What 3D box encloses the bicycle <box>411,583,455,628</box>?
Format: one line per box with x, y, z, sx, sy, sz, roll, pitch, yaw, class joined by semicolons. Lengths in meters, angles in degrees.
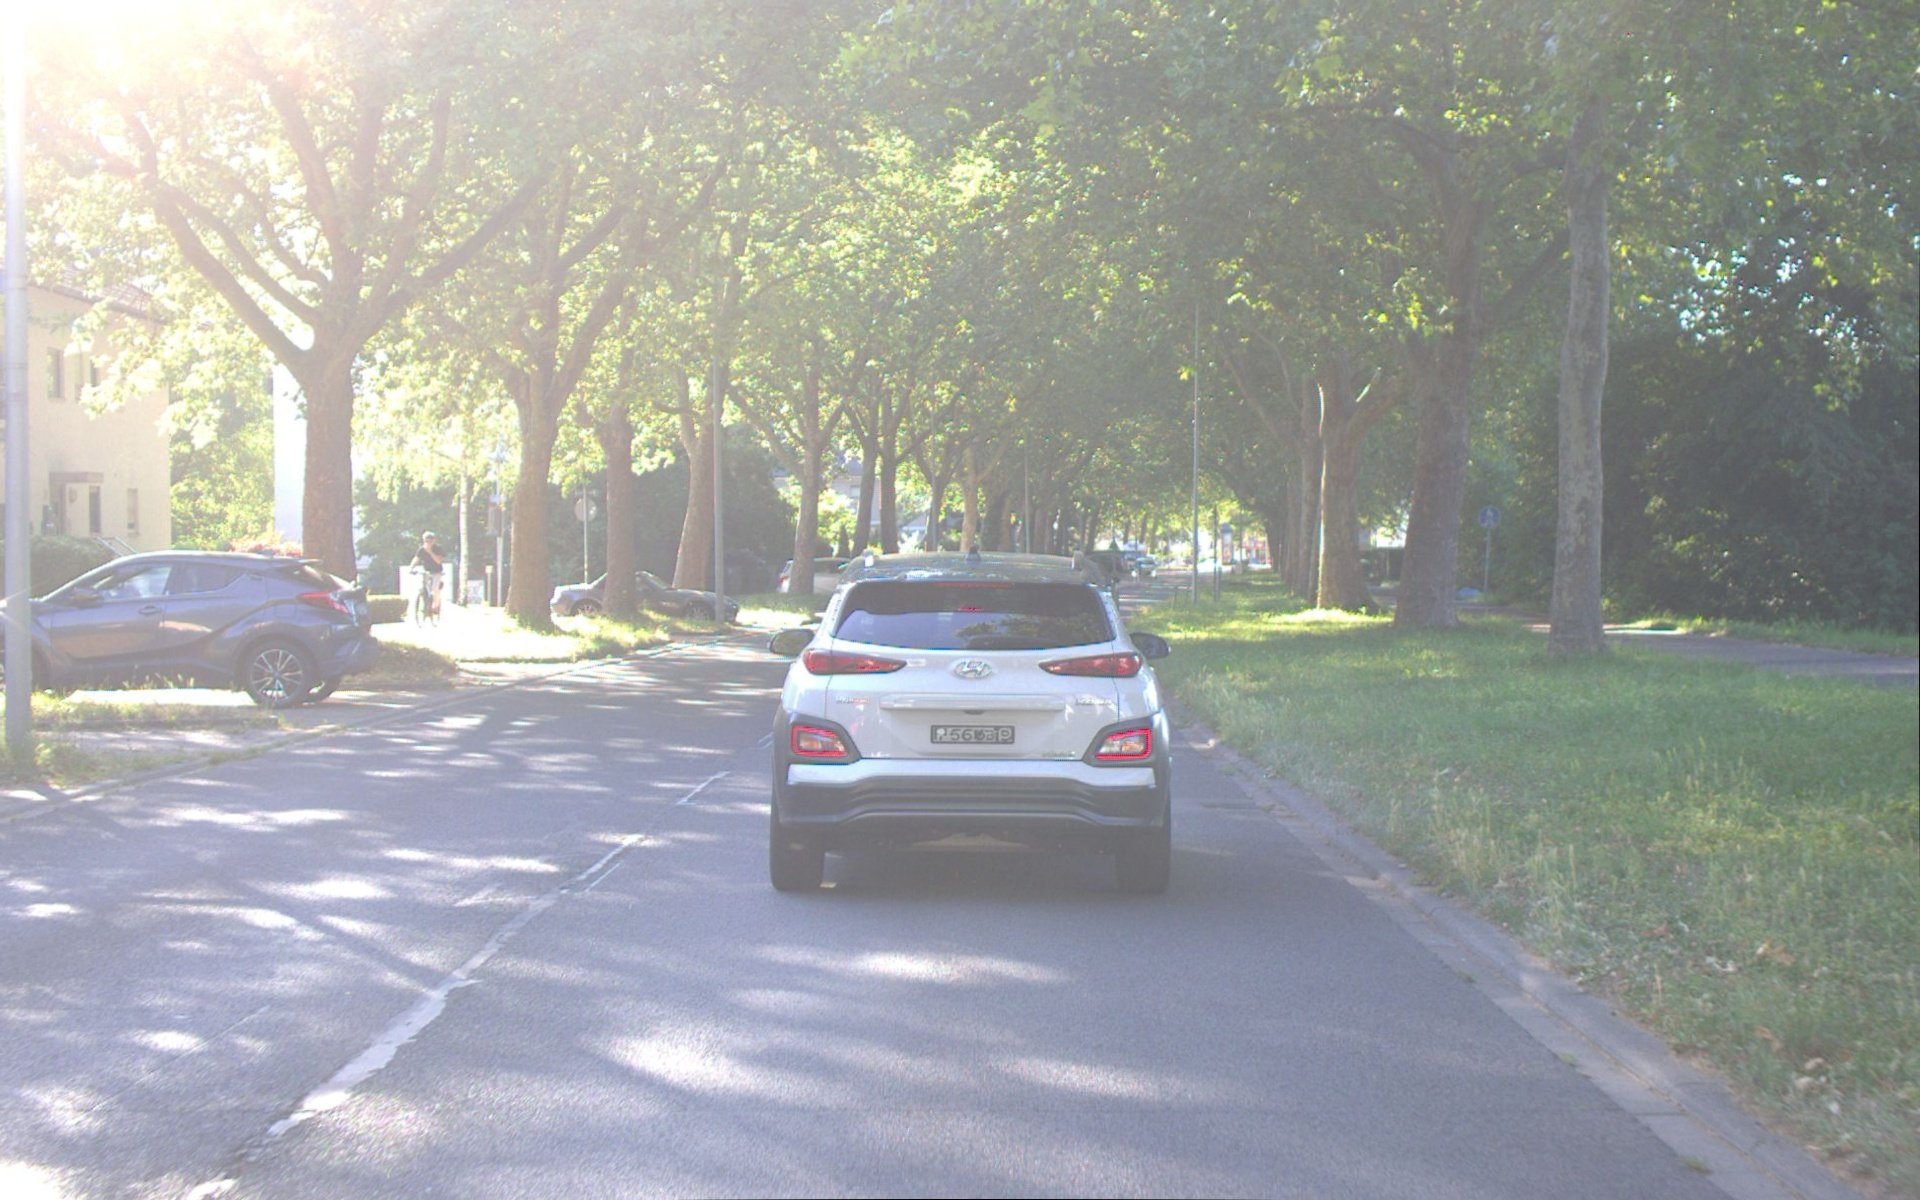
-10.542;0.099;68.818;0.470;0.877;2.156;0;1;2;bicycle

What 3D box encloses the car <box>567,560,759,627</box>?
-6.253;-0.140;72.706;3.826;1.312;1.790;1;1;2;car

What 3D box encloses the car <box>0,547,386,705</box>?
-7.853;0.235;34.244;3.988;1.513;1.817;0;1;-1;car

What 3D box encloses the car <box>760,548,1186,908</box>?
-0.028;0.555;16.923;1.835;1.550;4.000;1;0;-2;car

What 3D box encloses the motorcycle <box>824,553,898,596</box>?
-3.233;-0.837;112.507;2.385;1.383;0.648;0;1;0;motorcycle

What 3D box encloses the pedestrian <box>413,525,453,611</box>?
-10.558;-0.649;68.903;0.617;1.710;1.065;0;0;2;pedestrian

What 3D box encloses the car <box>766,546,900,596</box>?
-4.040;-0.934;110.153;4.183;1.579;2.000;0;0;1;car

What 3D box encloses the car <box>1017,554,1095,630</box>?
2.179;-0.199;78.843;1.676;1.690;3.745;0;1;0;car

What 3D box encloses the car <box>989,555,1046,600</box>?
2.017;-0.800;119.818;1.784;1.507;3.838;1;1;4;car

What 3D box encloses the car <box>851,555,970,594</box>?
-1.819;-0.949;126.807;4.241;1.348;1.741;-1;0;4;car
